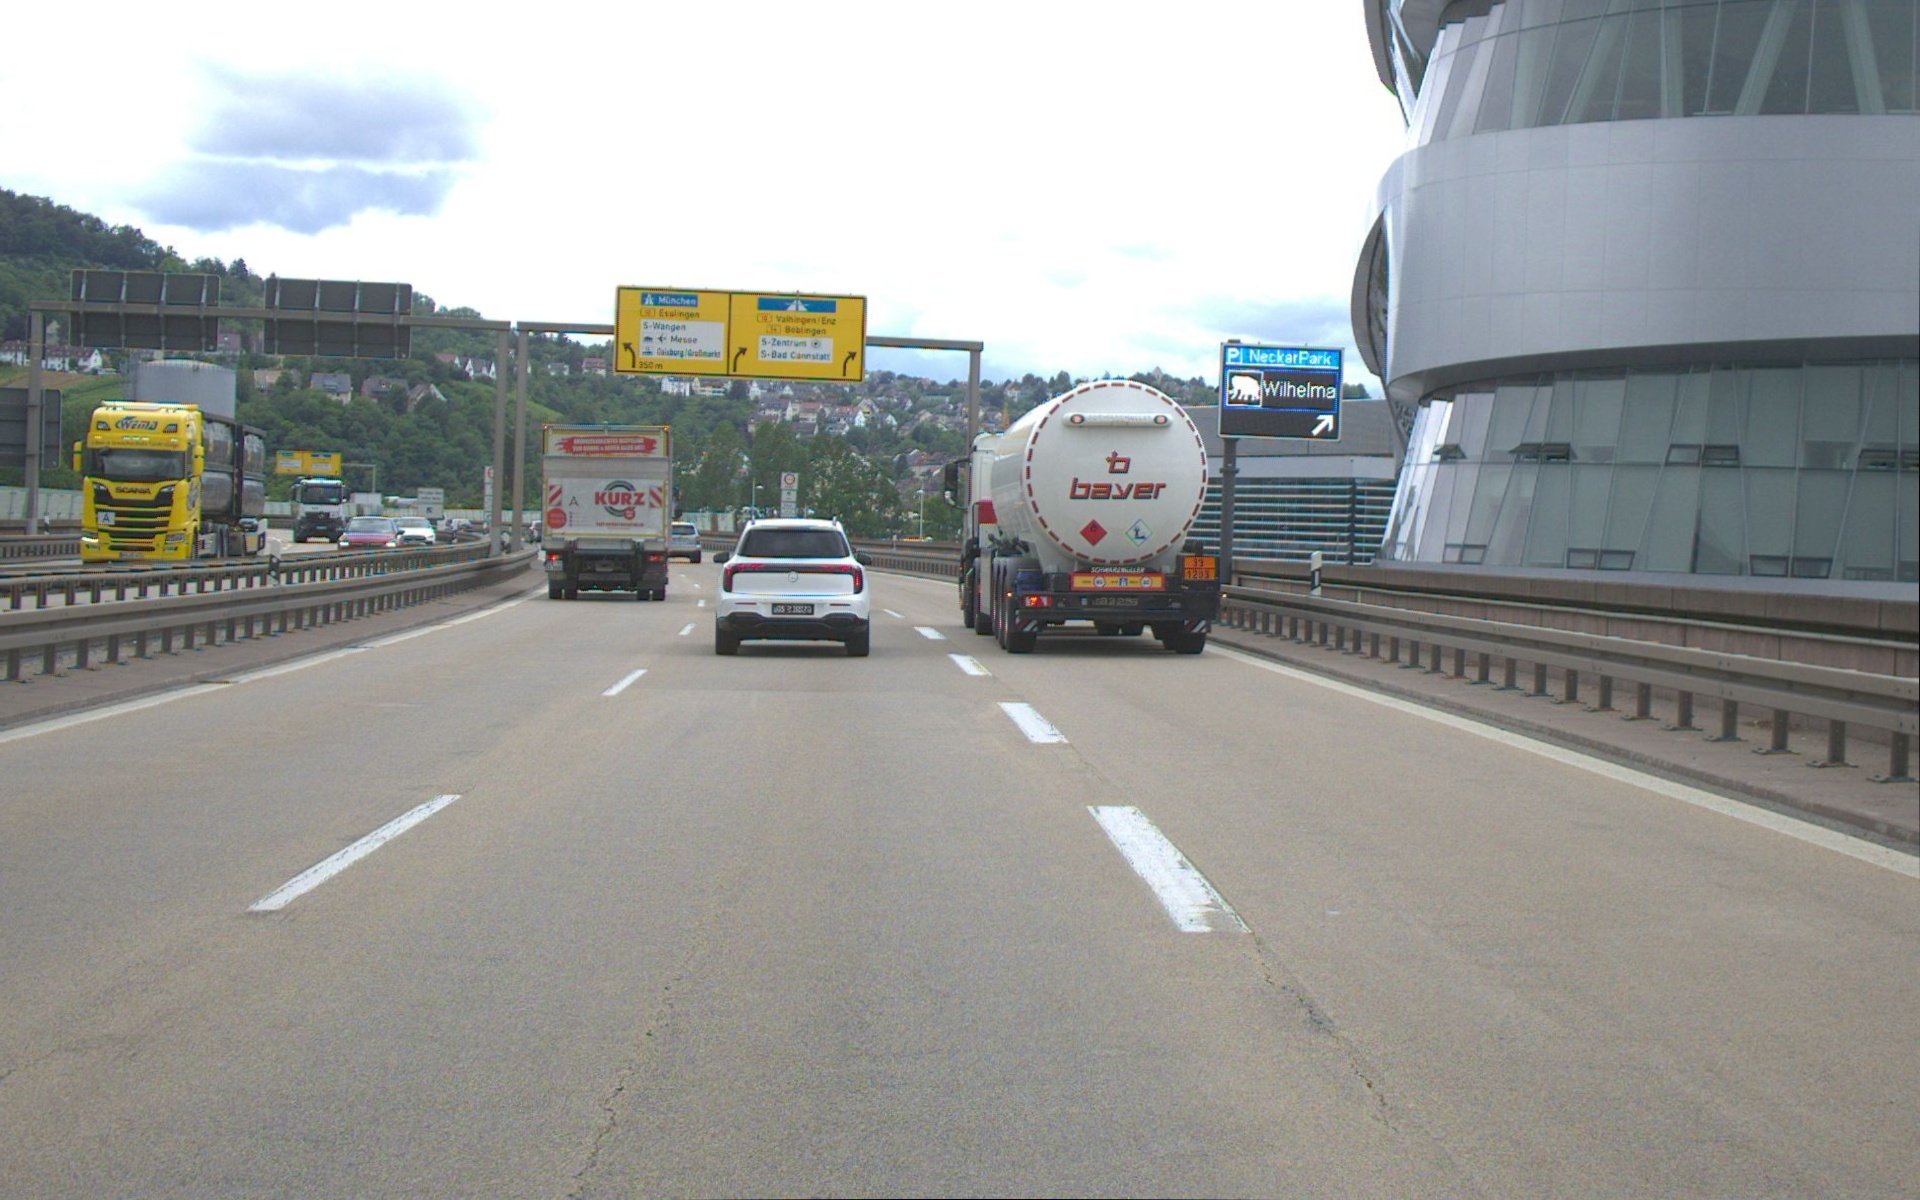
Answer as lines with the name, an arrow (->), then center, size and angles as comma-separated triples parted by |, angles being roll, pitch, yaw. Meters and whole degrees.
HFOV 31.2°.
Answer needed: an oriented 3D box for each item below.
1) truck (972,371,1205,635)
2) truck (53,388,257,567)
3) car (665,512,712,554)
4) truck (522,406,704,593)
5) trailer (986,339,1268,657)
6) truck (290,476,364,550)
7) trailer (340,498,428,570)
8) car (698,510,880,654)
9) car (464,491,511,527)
truck -> 1.813, -1.380, 51.326 | 3.014, 3.644, 6.274 | 1, 0, -2
truck -> -19.696, -2.874, 84.877 | 3.056, 4.051, 11.859 | 1, 1, -4
car -> -11.142, -2.732, 141.253 | 1.683, 1.644, 4.360 | 2, 0, -3
truck -> -7.224, -2.043, 72.618 | 3.057, 3.678, 8.304 | 1, 1, -1
trailer -> 2.046, -1.270, 45.627 | 3.057, 3.777, 8.304 | 1, 1, -2
truck -> -33.850, -4.596, 184.125 | 3.056, 3.763, 12.521 | 1, 1, -7
trailer -> -16.518, -1.868, 98.782 | 1.993, 2.007, 4.000 | 1, 0, -3
car -> -2.067, -0.226, 42.757 | 1.993, 1.669, 4.408 | 1, 0, 0
car -> -22.696, -4.345, 165.268 | 1.993, 1.601, 4.808 | 1, 0, -6
